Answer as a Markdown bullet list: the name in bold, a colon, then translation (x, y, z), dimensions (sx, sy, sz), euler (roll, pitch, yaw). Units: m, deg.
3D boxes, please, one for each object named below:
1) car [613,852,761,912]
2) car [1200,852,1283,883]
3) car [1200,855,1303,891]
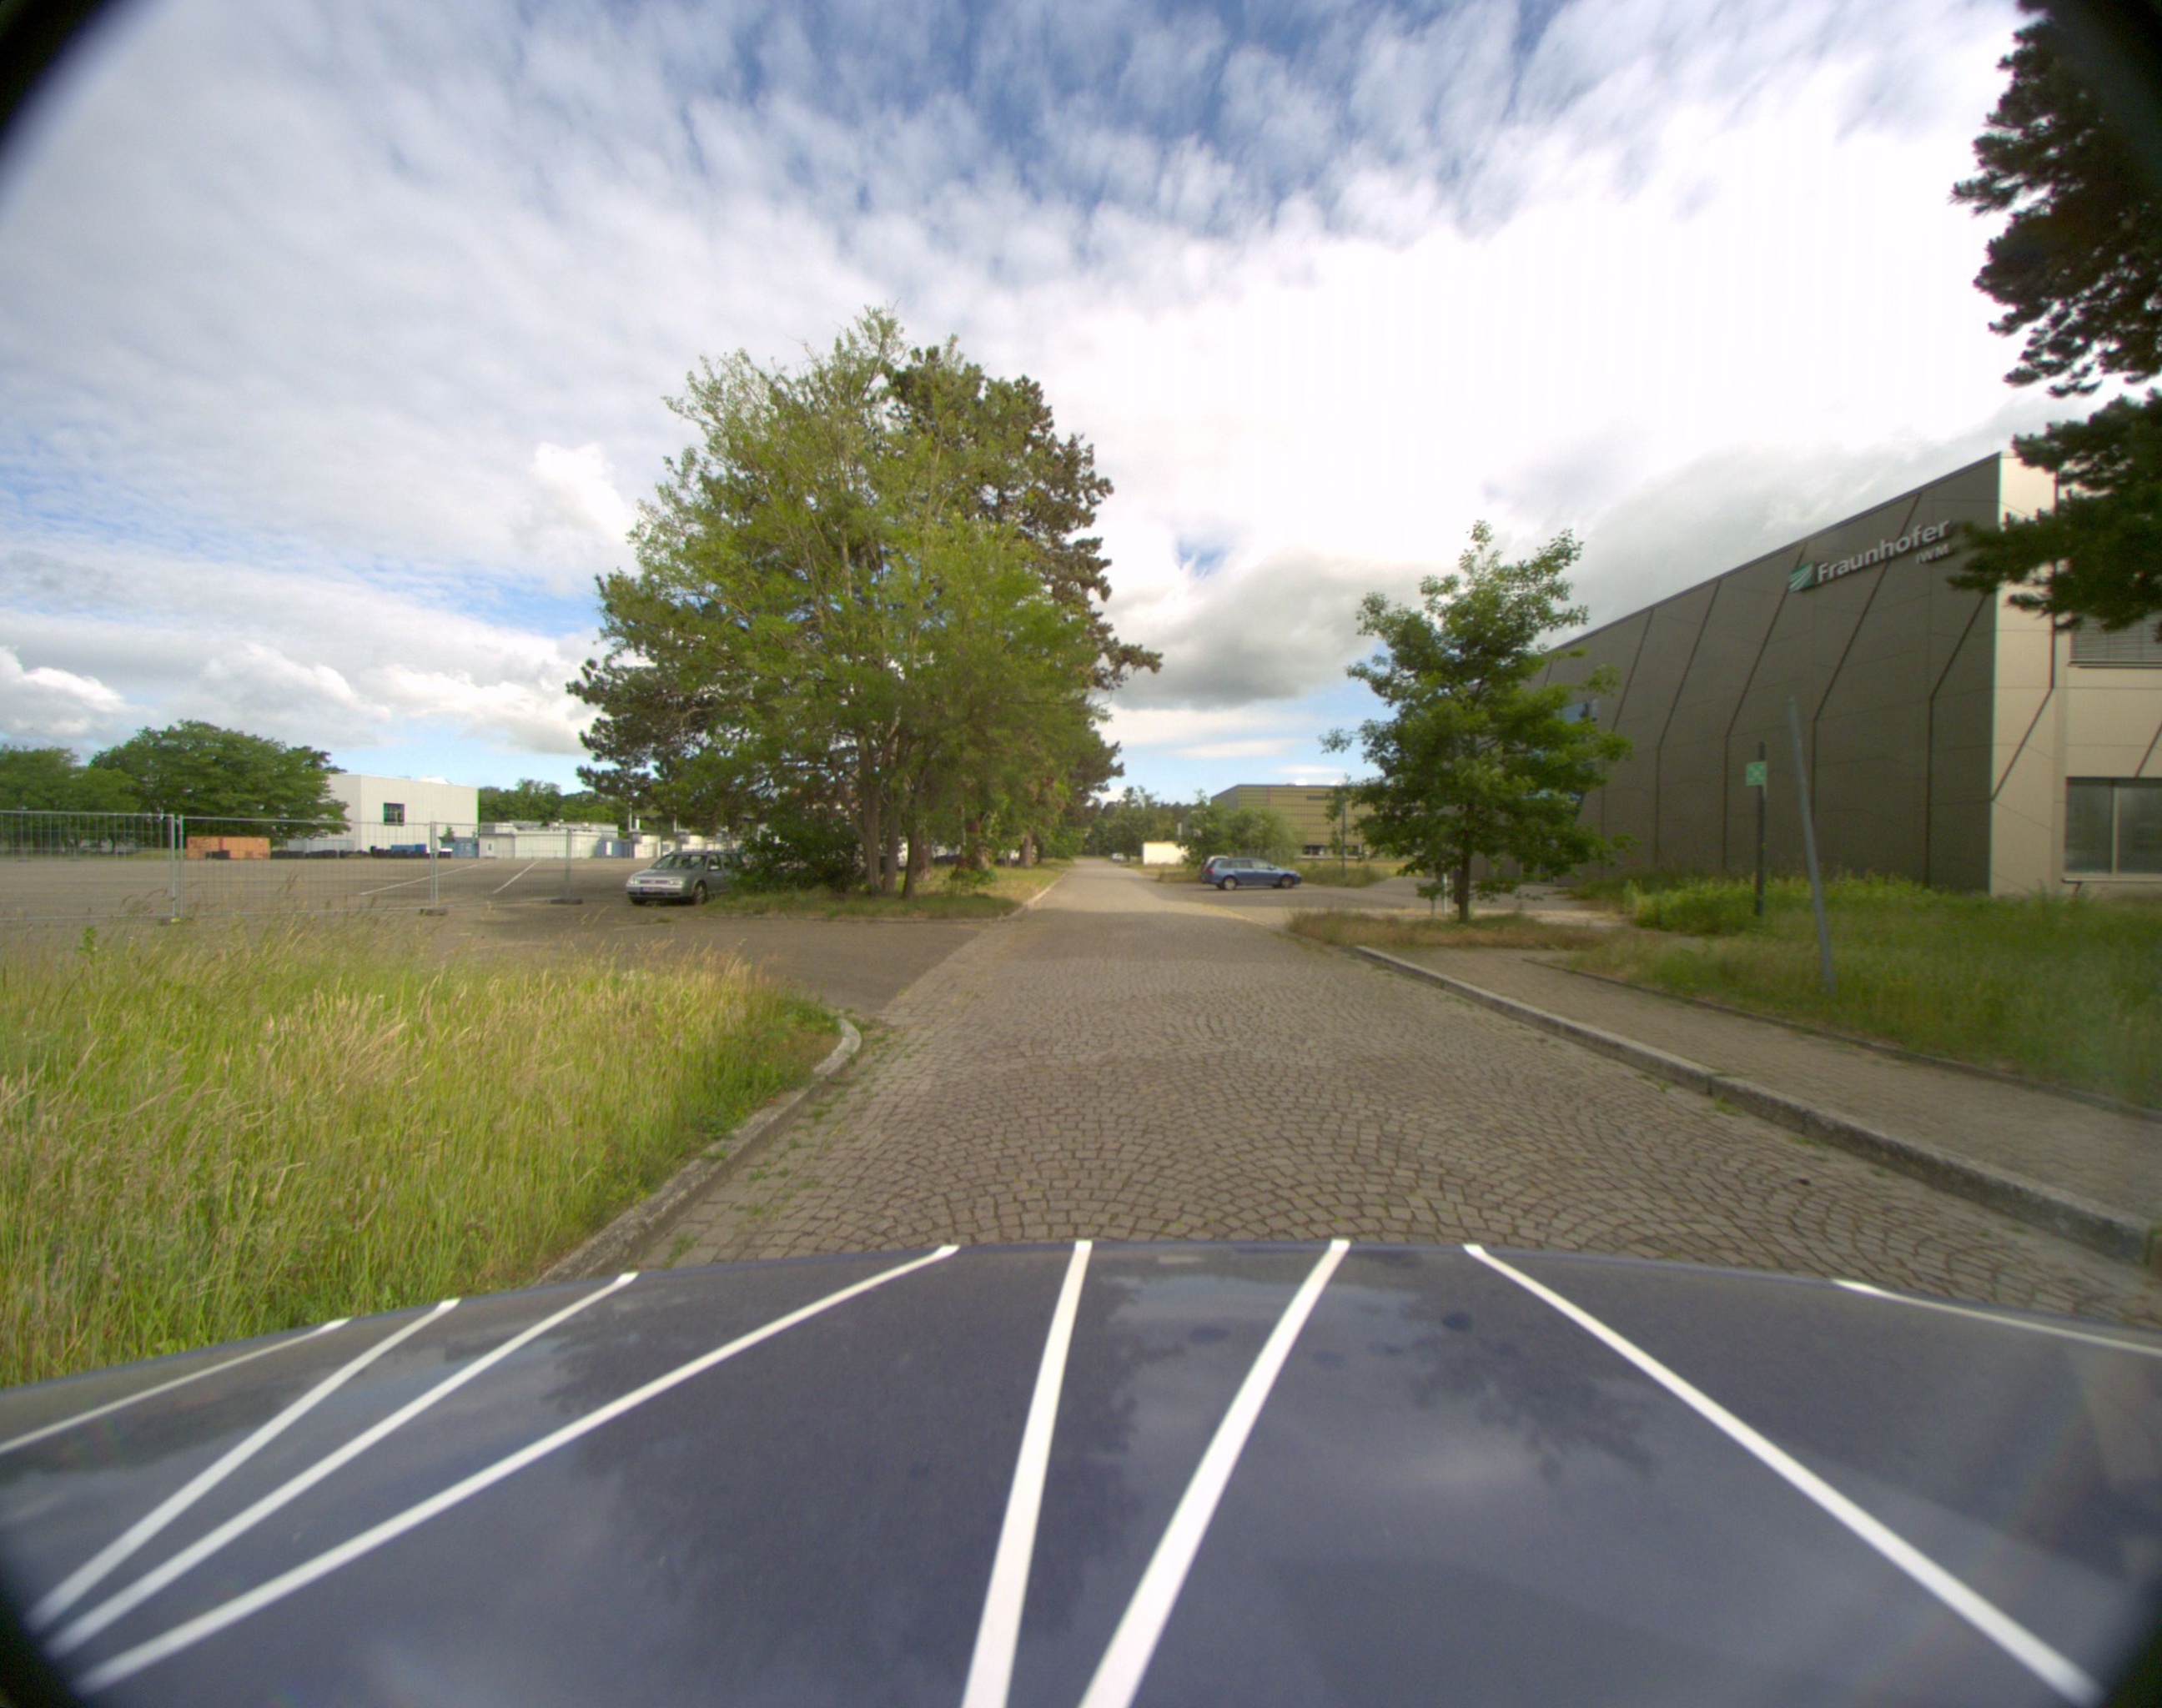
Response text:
- **car**: translation (-10.753, 0.694, 21.127), dimensions (1.759, 1.440, 4.327), euler (1, 0, 2)
- **car**: translation (8.949, 0.742, 42.741), dimensions (4.400, 1.537, 1.842), euler (-2, 0, 7)
- **car**: translation (7.902, 0.861, 35.442), dimensions (4.404, 1.501, 1.716), euler (-2, 1, -2)
